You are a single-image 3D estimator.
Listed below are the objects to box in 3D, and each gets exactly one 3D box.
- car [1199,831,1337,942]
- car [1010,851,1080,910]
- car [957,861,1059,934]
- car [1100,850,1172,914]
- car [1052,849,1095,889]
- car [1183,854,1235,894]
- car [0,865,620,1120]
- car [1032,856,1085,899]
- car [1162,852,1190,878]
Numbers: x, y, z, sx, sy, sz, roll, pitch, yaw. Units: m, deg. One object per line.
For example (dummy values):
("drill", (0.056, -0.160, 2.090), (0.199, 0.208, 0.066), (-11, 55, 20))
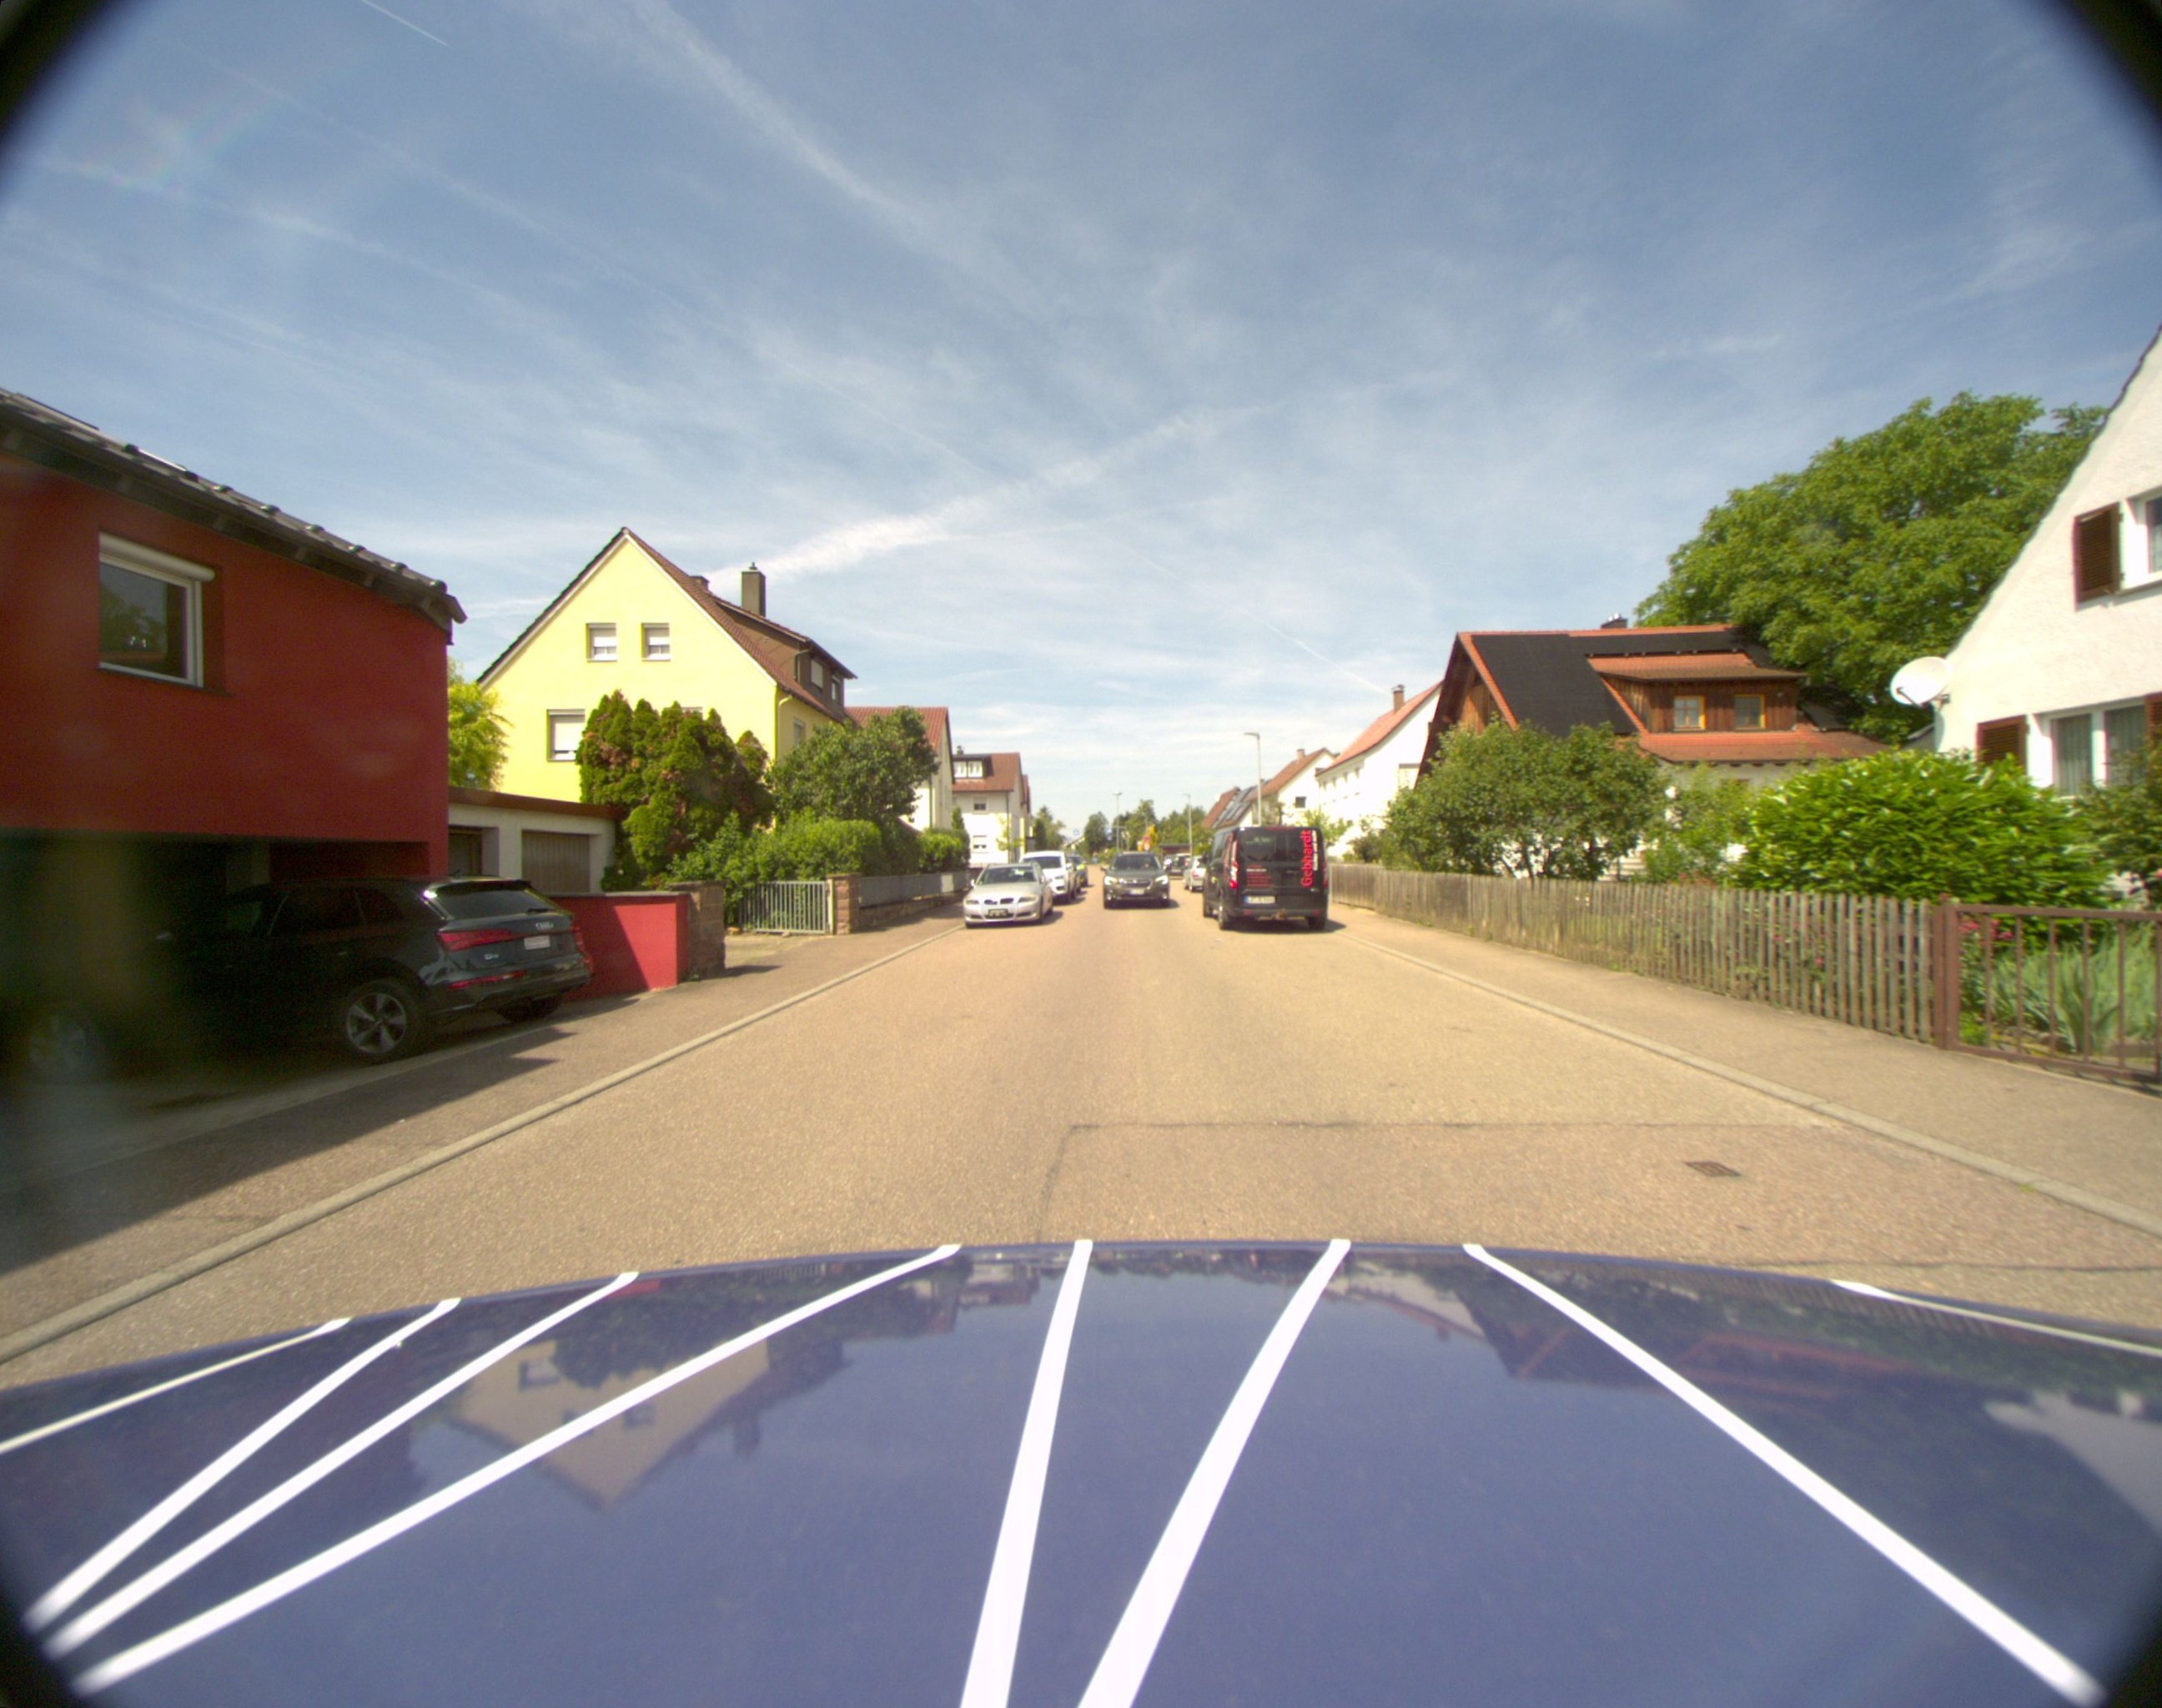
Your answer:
("car", (3.677, 0.570, 15.830), (1.972, 1.940, 4.697), (-1, 0, 4))
("car", (-1.076, 0.786, 24.766), (1.740, 1.652, 4.337), (-3, 0, 3))
("car", (-1.621, 0.955, 18.389), (1.755, 1.412, 4.421), (-3, 0, 3))
("car", (1.535, 0.735, 22.119), (1.838, 1.638, 4.324), (-2, 0, 2))
("car", (-0.297, 0.675, 36.287), (1.669, 1.739, 4.056), (-3, 0, 3))
("car", (4.992, 0.750, 29.971), (1.585, 1.434, 3.266), (0, 0, 2))
("car", (-7.278, 1.200, 7.323), (4.378, 1.659, 1.877), (-7, 0, 2))
("car", (-0.821, 0.871, 29.890), (1.628, 1.460, 4.373), (-3, 0, 3))
("car", (5.743, 0.640, 46.279), (1.601, 1.450, 3.661), (-1, 0, 5))
